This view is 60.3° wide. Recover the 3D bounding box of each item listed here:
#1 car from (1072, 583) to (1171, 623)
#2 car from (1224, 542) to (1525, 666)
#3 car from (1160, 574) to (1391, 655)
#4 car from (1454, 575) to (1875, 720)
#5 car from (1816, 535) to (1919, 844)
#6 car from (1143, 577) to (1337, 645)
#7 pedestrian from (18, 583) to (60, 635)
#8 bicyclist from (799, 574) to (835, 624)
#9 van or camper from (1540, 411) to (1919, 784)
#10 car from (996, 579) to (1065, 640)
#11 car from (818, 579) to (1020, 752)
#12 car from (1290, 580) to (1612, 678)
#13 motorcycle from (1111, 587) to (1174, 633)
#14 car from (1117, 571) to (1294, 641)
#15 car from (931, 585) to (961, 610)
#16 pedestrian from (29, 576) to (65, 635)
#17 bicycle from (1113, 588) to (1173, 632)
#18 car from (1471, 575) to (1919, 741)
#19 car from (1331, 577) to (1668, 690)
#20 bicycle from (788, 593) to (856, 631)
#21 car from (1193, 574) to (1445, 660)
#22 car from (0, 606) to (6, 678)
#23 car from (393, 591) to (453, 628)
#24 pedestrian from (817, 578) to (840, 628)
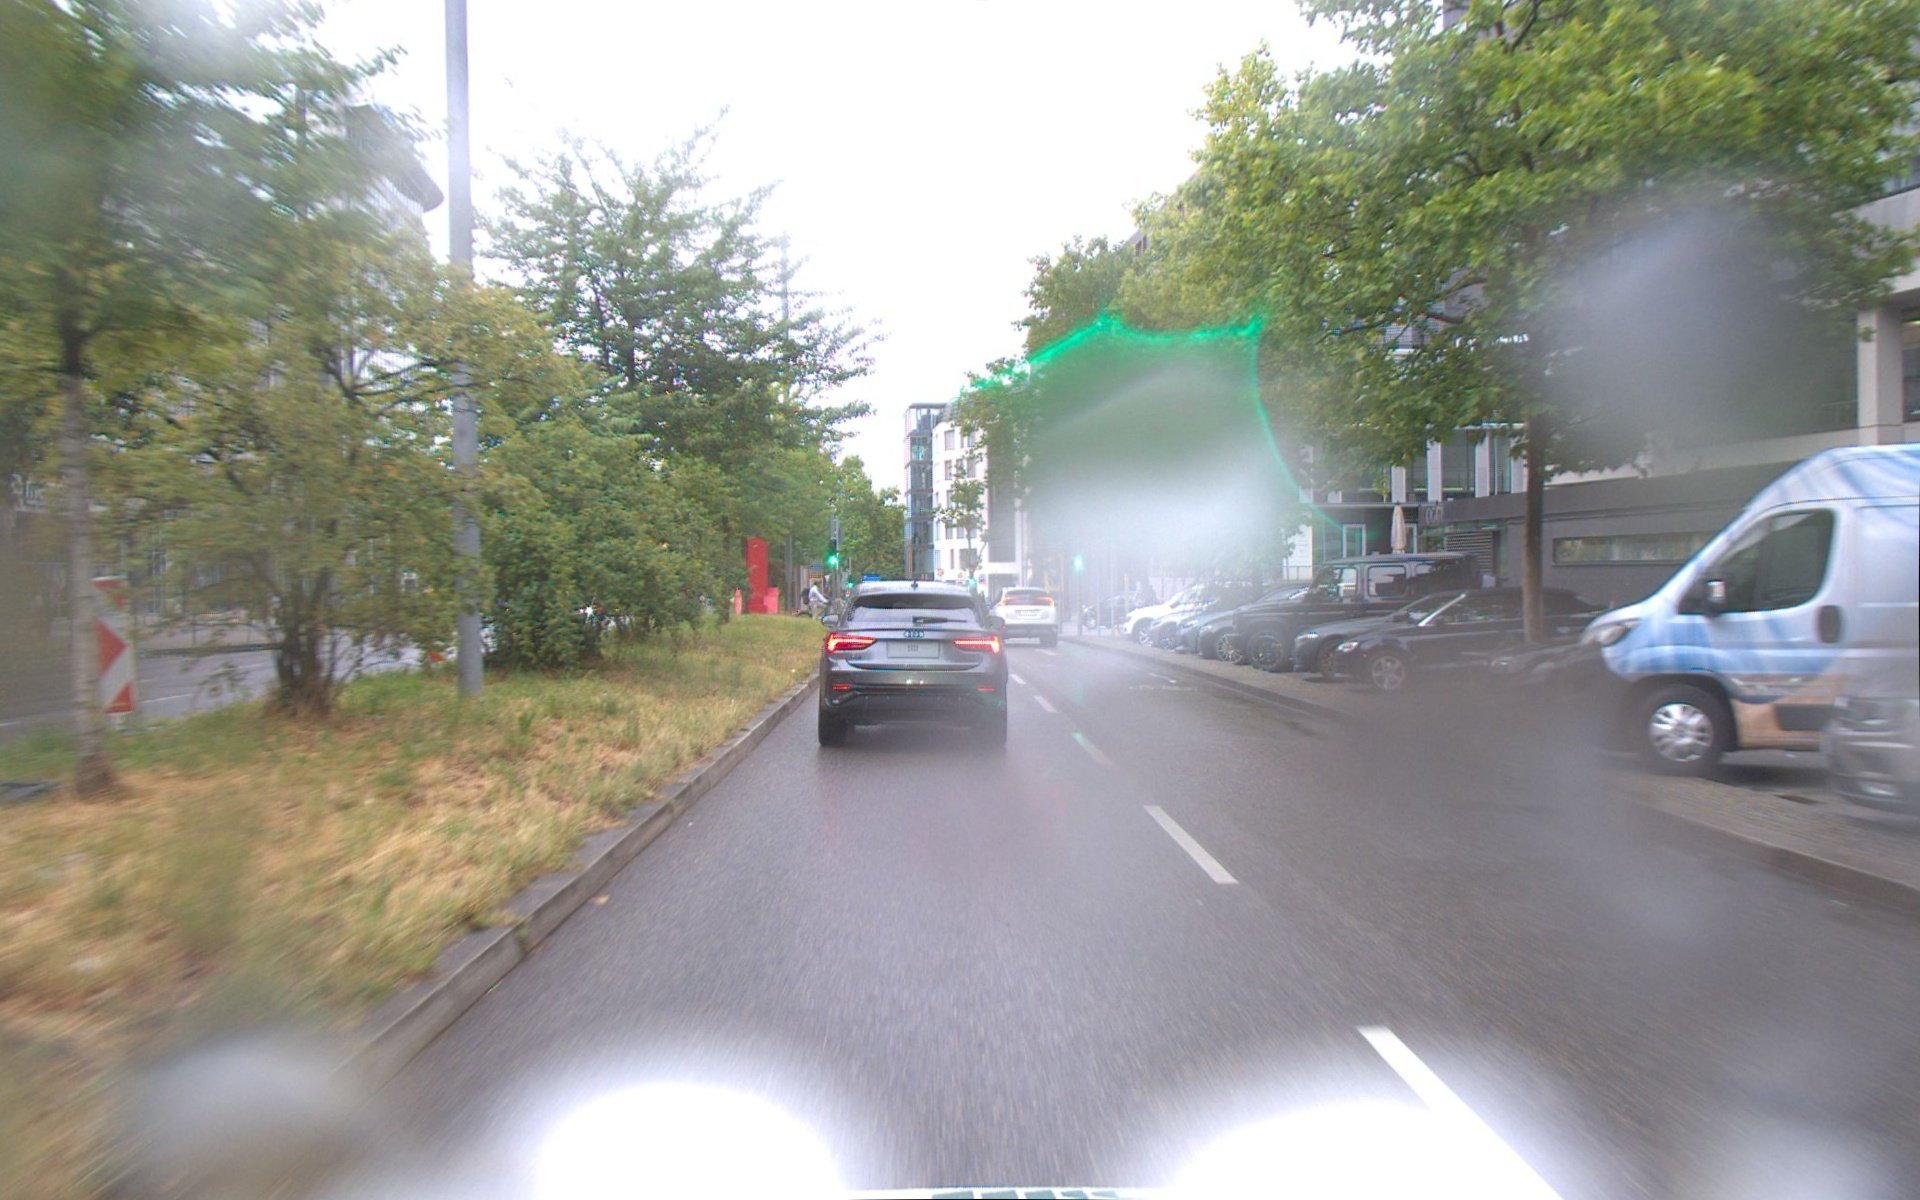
[{"bbox_3d":[6.552,0.128,67.268,3.794,1.595,1.658,0,-1,42],"label":"car"},{"bbox_3d":[7.286,0.089,29.158,4.839,2.013,1.928,-1,0,26],"label":"car"},{"bbox_3d":[6.707,0.304,35.128,4.673,1.560,1.871,-1,0,14],"label":"car"},{"bbox_3d":[7.745,0.484,18.374,4.117,1.461,1.719,0,0,26],"label":"car"},{"bbox_3d":[7.124,0.494,9.151,4.173,1.696,1.817,0,0,26],"label":"car"},{"bbox_3d":[6.720,0.277,39.740,4.212,1.514,1.840,-1,0,29],"label":"car"},{"bbox_3d":[-30.178,0.278,54.211,0.975,1.674,0.676,-1,0,-7],"label":"pedestrian"},{"bbox_3d":[-4.865,-0.029,56.289,1.082,1.650,0.750,2,-1,-1],"label":"bicyclist"},{"bbox_3d":[7.564,-0.025,12.258,5.947,2.603,2.102,0,0,27],"label":"van or camper"},{"bbox_3d":[2.004,0.245,47.803,1.811,1.698,4.038,0,0,0],"label":"car"},{"bbox_3d":[-0.395,0.562,16.903,1.812,1.550,4.038,0,1,-1],"label":"car"},{"bbox_3d":[7.654,0.456,25.856,4.534,1.419,1.845,-1,0,28],"label":"car"},{"bbox_3d":[5.830,0.313,52.748,1.985,1.439,0.726,0,-1,8],"label":"motorcycle"},{"bbox_3d":[6.359,0.166,42.894,4.135,1.698,1.837,-1,0,27],"label":"car"},{"bbox_3d":[-0.865,-0.157,103.785,1.811,1.550,4.038,0,0,0],"label":"car"},{"bbox_3d":[-30.428,0.168,55.123,0.826,1.952,0.676,-1,0,-5],"label":"pedestrian"},{"bbox_3d":[6.060,0.319,54.735,1.940,1.439,0.726,0,-1,8],"label":"bicycle"},{"bbox_3d":[7.357,0.513,16.134,4.301,1.461,1.939,0,0,26],"label":"car"},{"bbox_3d":[7.514,0.441,23.065,4.279,1.461,1.760,0,0,26],"label":"car"},{"bbox_3d":[-4.680,0.409,56.285,2.209,1.182,0.750,2,-1,-1],"label":"bicycle"},{"bbox_3d":[6.952,0.325,32.062,4.462,1.533,1.868,-1,0,24],"label":"car"},{"bbox_3d":[-19.730,0.896,30.533,1.733,1.419,4.651,-4,1,-4],"label":"car"},{"bbox_3d":[-24.377,0.424,75.183,1.840,1.562,4.069,-2,0,-8],"label":"car"},{"bbox_3d":[-4.852,0.111,60.885,0.647,1.825,0.751,0,-1,12],"label":"pedestrian"}]
